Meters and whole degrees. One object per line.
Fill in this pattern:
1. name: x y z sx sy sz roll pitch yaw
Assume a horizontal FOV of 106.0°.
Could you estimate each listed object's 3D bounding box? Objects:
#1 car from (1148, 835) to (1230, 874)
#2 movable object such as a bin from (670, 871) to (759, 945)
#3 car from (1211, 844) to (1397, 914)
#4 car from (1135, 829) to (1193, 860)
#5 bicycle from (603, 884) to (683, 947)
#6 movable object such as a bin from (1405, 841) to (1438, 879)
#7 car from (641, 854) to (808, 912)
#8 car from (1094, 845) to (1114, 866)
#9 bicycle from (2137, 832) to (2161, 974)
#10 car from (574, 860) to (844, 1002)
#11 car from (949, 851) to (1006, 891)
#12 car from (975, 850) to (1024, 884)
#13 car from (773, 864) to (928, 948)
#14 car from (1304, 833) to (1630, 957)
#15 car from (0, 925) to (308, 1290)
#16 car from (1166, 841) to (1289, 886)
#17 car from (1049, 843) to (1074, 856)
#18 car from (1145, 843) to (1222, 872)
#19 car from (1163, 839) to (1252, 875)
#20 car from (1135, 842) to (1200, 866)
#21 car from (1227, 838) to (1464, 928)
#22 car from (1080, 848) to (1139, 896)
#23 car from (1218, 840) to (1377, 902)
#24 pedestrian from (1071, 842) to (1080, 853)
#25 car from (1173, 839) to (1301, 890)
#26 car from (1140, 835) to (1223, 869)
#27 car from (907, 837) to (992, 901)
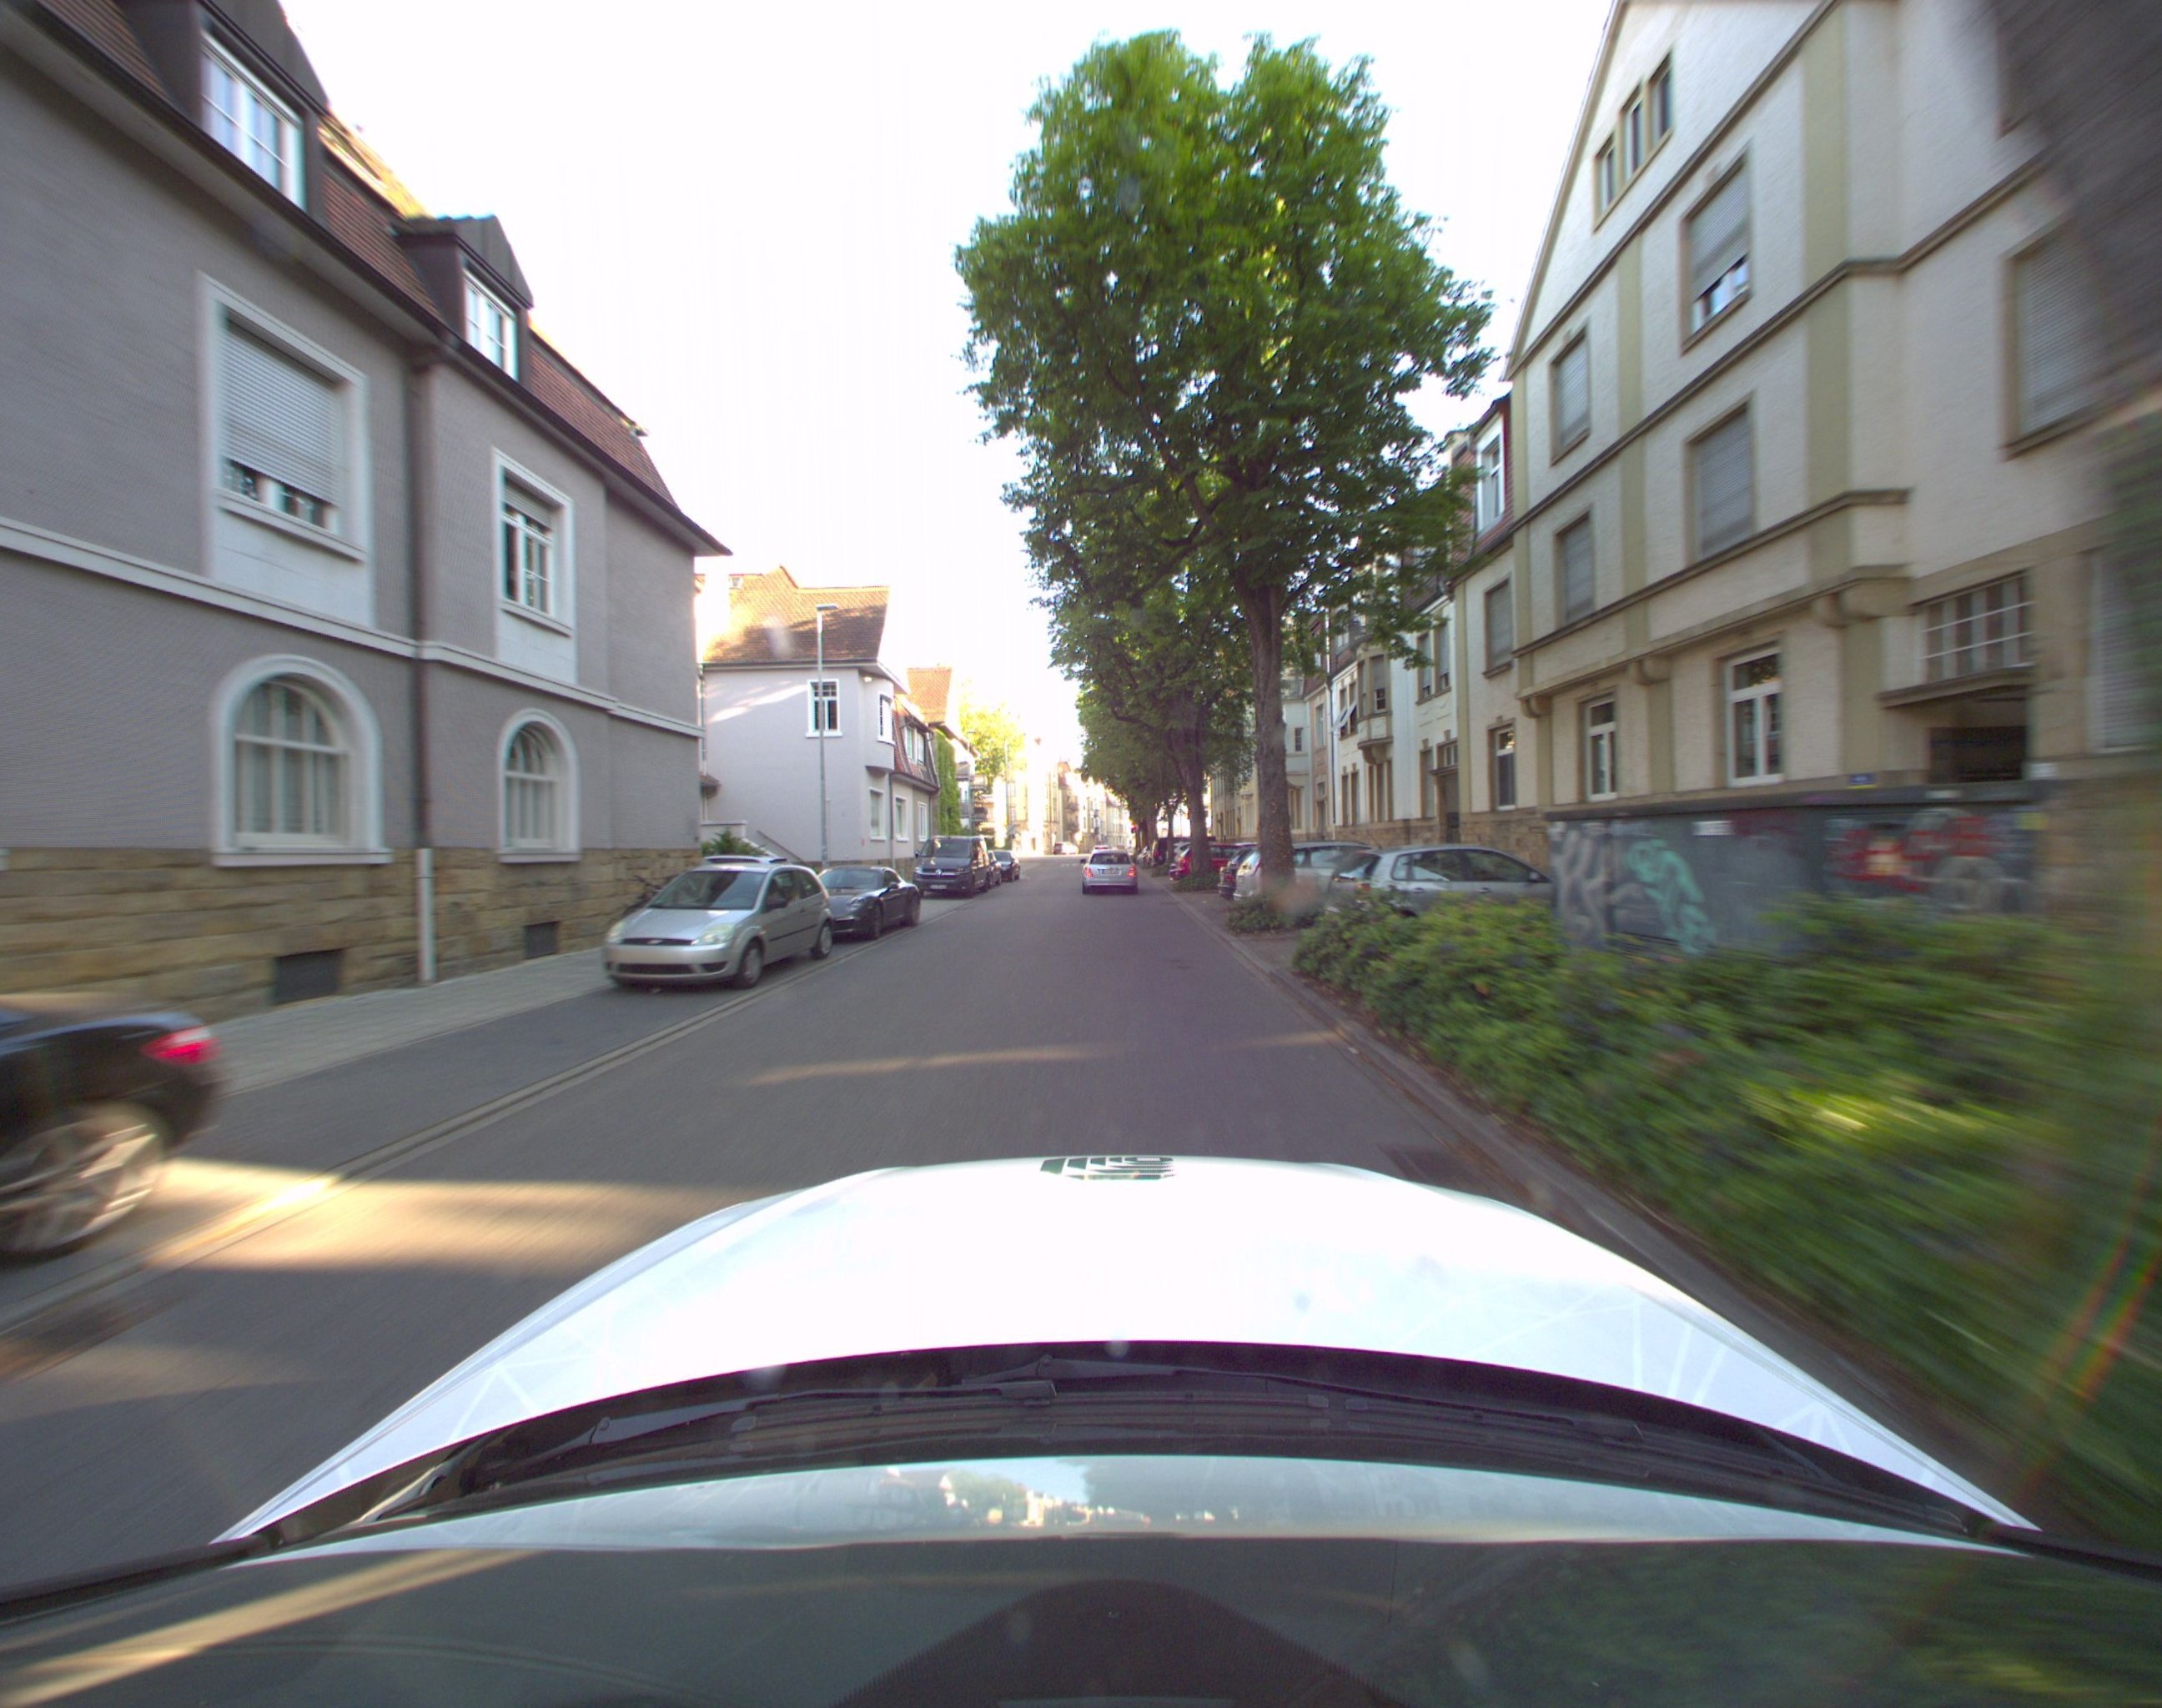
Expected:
1. car: 5.962 0.005 45.132 4.207 1.896 1.905 -3 1 -1
2. movable object such as a bin: -7.274 1.042 16.292 0.719 1.283 2.097 -1 1 2
3. car: 5.032 0.547 18.766 3.779 1.437 1.818 -1 1 1
4. car: 6.603 -0.763 65.180 4.376 2.364 1.999 -1 1 -1
5. bicycle: -7.675 1.052 14.352 0.392 0.937 1.723 -2 1 2
6. movable object such as a bin: 10.083 0.166 24.126 0.697 1.049 0.541 -5 1 1
7. car: -9.803 0.768 22.586 3.854 1.443 1.634 -1 1 -3
8. car: 1.946 0.106 68.695 1.617 1.569 3.683 -1 1 2
9. bicycle: 9.572 0.433 6.183 0.583 1.211 1.957 -1 1 0
10. car: -4.656 0.868 10.910 1.647 1.445 3.963 0 1 2
11. car: -4.134 0.657 33.125 1.647 1.447 4.240 0 1 2
12. car: -3.787 0.571 38.430 1.688 1.447 4.360 0 1 2
13. car: -4.299 0.907 15.895 1.524 1.319 4.232 -1 0 4
14. car: 5.341 0.519 11.583 3.784 1.437 1.747 -3 1 -3
15. car: -5.145 1.072 2.423 1.646 1.323 4.050 0 1 4
16. car: 5.549 0.344 31.263 4.392 1.419 1.879 -3 0 4
17. car: -2.491 -0.557 104.300 1.978 1.585 4.019 -1 1 17
18. car: 6.017 0.177 48.133 4.275 1.540 1.876 -1 1 -1
19. car: 6.220 0.132 40.372 4.095 1.571 1.878 -3 0 1
20. car: 6.067 0.002 57.325 4.275 1.417 1.876 -3 1 -1
21. car: 5.163 0.528 16.196 4.138 1.576 1.710 -1 1 -4
22. car: 0.953 0.545 26.888 1.777 1.437 3.853 0 0 2
23. car: 5.573 0.420 21.314 3.777 1.483 1.562 -1 1 3
24. pedestrian: -0.883 -1.010 128.552 1.215 1.721 1.505 0 1 5
25. car: 5.389 0.339 28.540 4.171 1.475 1.854 -3 0 4
26. car: 6.413 -0.142 52.389 5.038 1.989 2.071 -1 1 -1
27. car: -4.291 0.407 27.429 1.975 1.947 4.852 0 1 1
